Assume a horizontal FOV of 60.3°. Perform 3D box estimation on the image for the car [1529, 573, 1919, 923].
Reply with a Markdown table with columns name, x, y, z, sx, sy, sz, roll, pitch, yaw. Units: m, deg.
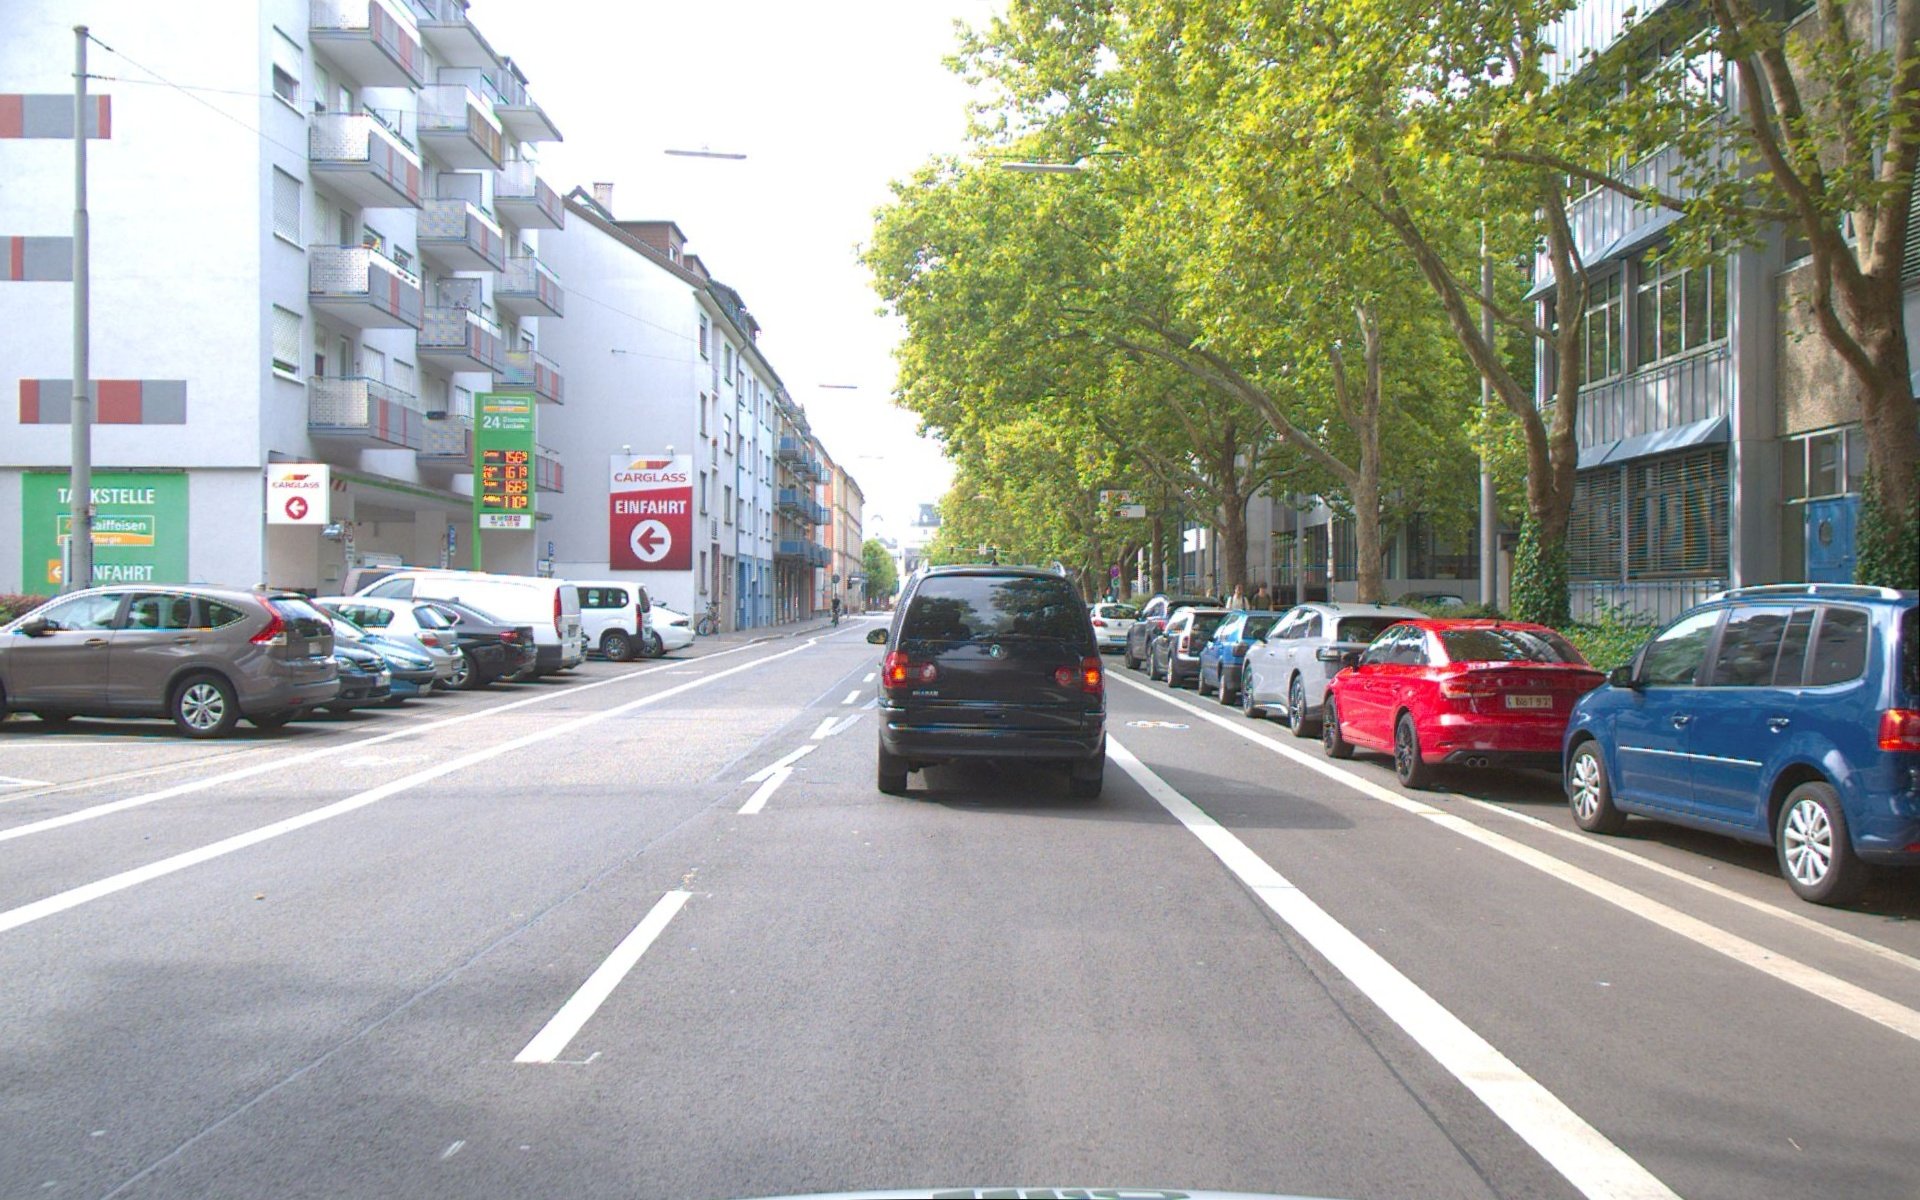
| name | x | y | z | sx | sy | sz | roll | pitch | yaw |
| --- | --- | --- | --- | --- | --- | --- | --- | --- | --- |
| car | 5.212 | 0.694 | 10.213 | 1.625 | 1.679 | 4.417 | 1 | 1 | -4 |

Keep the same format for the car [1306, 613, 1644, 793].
| name | x | y | z | sx | sy | sz | roll | pitch | yaw |
| --- | --- | --- | --- | --- | --- | --- | --- | --- | --- |
| car | 4.542 | 0.834 | 15.306 | 1.642 | 1.418 | 4.459 | 0 | 0 | -2 |

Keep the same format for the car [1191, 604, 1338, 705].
| name | x | y | z | sx | sy | sz | roll | pitch | yaw |
| --- | --- | --- | --- | --- | --- | --- | --- | --- | --- |
| car | 4.731 | 0.800 | 26.159 | 1.588 | 1.410 | 4.000 | 3 | 0 | 1 |

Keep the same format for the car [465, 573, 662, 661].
| name | x | y | z | sx | sy | sz | roll | pitch | yaw |
| --- | --- | --- | --- | --- | --- | --- | --- | --- | --- |
| car | -9.395 | 0.402 | 39.479 | 4.221 | 1.902 | 1.823 | 2 | -1 | -2 |

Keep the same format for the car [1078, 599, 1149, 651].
| name | x | y | z | sx | sy | sz | roll | pitch | yaw |
| --- | --- | --- | --- | --- | --- | --- | --- | --- | --- |
| car | 4.531 | 0.714 | 49.428 | 1.641 | 1.418 | 4.460 | 2 | 0 | 0 |

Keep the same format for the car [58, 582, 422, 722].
| name | x | y | z | sx | sy | sz | roll | pitch | yaw |
| --- | --- | --- | --- | --- | --- | --- | --- | --- | --- |
| car | -9.177 | 0.636 | 21.281 | 3.859 | 1.597 | 1.754 | 2 | 0 | 1 |

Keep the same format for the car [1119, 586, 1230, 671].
| name | x | y | z | sx | sy | sz | roll | pitch | yaw |
| --- | --- | --- | --- | --- | --- | --- | --- | --- | --- |
| car | 4.625 | 0.593 | 36.222 | 1.635 | 1.669 | 4.501 | 2 | 0 | -2 |

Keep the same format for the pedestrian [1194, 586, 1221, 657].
| name | x | y | z | sx | sy | sz | roll | pitch | yaw |
| --- | --- | --- | --- | --- | --- | --- | --- | --- | --- |
| pedestrian | 6.135 | 0.520 | 41.028 | 0.575 | 1.731 | 0.508 | 1 | 1 | 0 |

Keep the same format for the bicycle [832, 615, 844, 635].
| name | x | y | z | sx | sy | sz | roll | pitch | yaw |
| --- | --- | --- | --- | --- | --- | --- | --- | --- | --- |
| bicycle | -7.065 | 1.455 | 95.643 | 0.618 | 1.052 | 2.013 | 1 | -3 | -3 |

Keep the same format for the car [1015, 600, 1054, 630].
| name | x | y | z | sx | sy | sz | roll | pitch | yaw |
| --- | --- | --- | --- | --- | --- | --- | --- | --- | --- |
| car | 3.822 | 0.744 | 85.634 | 1.609 | 1.513 | 3.510 | 0 | 0 | -4 |

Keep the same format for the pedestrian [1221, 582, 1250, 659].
| name | x | y | z | sx | sy | sz | roll | pitch | yaw |
| --- | --- | --- | --- | --- | --- | --- | --- | --- | --- |
| pedestrian | 6.839 | 0.498 | 41.100 | 0.575 | 1.870 | 0.692 | 1 | 1 | 0 |

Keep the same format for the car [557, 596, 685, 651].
| name | x | y | z | sx | sy | sz | roll | pitch | yaw |
| --- | --- | --- | --- | --- | --- | --- | --- | --- | --- |
| car | -9.521 | 0.660 | 46.619 | 3.276 | 1.426 | 1.503 | 2 | -1 | -3 |

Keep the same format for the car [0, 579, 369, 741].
| name | x | y | z | sx | sy | sz | roll | pitch | yaw |
| --- | --- | --- | --- | --- | --- | --- | --- | --- | --- |
| car | -9.196 | 0.632 | 18.844 | 4.169 | 1.633 | 1.968 | 1 | 1 | 0 |

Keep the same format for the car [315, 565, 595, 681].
| name | x | y | z | sx | sy | sz | roll | pitch | yaw |
| --- | --- | --- | --- | --- | --- | --- | --- | --- | --- |
| car | -9.155 | 0.409 | 30.272 | 4.434 | 1.911 | 2.047 | 2 | 0 | 0 |

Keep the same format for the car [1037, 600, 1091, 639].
| name | x | y | z | sx | sy | sz | roll | pitch | yaw |
| --- | --- | --- | --- | --- | --- | --- | --- | --- | --- |
| car | 4.077 | 0.758 | 65.182 | 1.609 | 1.438 | 3.413 | 2 | 0 | -4 |

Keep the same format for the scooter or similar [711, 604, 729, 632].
| name | x | y | z | sx | sy | sz | roll | pitch | yaw |
| --- | --- | --- | --- | --- | --- | --- | --- | --- | --- |
| scooter or similar | -9.204 | 0.676 | 63.358 | 0.619 | 1.052 | 2.012 | 0 | 0 | -6 |

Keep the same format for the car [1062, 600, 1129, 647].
| name | x | y | z | sx | sy | sz | roll | pitch | yaw |
| --- | --- | --- | --- | --- | --- | --- | --- | --- | --- |
| car | 4.372 | 0.752 | 53.831 | 1.609 | 1.438 | 3.413 | 2 | 0 | -4 |

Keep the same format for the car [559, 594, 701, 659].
| name | x | y | z | sx | sy | sz | roll | pitch | yaw |
| --- | --- | --- | --- | --- | --- | --- | --- | --- | --- |
| car | -8.308 | 0.658 | 41.830 | 3.276 | 1.523 | 1.595 | 2 | -1 | -3 |

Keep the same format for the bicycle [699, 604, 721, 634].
| name | x | y | z | sx | sy | sz | roll | pitch | yaw |
| --- | --- | --- | --- | --- | --- | --- | --- | --- | --- |
| bicycle | -9.168 | 0.700 | 60.775 | 0.618 | 1.052 | 2.013 | 1 | 0 | -4 |

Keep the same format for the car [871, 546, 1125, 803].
| name | x | y | z | sx | sy | sz | roll | pitch | yaw |
| --- | --- | --- | --- | --- | --- | --- | --- | --- | --- |
| car | 0.225 | 0.541 | 13.538 | 1.776 | 1.797 | 3.736 | 1 | 0 | -2 |

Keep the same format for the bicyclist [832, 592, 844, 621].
| name | x | y | z | sx | sy | sz | roll | pitch | yaw |
| --- | --- | --- | --- | --- | --- | --- | --- | --- | --- |
| bicyclist | -7.075 | 0.394 | 95.890 | 0.640 | 1.639 | 0.655 | 1 | -3 | -3 |

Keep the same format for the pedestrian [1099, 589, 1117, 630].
| name | x | y | z | sx | sy | sz | roll | pitch | yaw |
| --- | --- | --- | --- | --- | --- | --- | --- | --- | --- |
| pedestrian | 6.719 | 0.425 | 75.197 | 0.751 | 1.863 | 0.516 | 0 | 0 | 0 |

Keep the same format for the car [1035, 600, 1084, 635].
| name | x | y | z | sx | sy | sz | roll | pitch | yaw |
| --- | --- | --- | --- | --- | --- | --- | --- | --- | --- |
| car | 4.204 | 0.718 | 70.245 | 1.609 | 1.419 | 3.510 | 2 | 0 | -4 |

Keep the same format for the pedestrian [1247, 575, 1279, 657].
| name | x | y | z | sx | sy | sz | roll | pitch | yaw |
| --- | --- | --- | --- | --- | --- | --- | --- | --- | --- |
| pedestrian | 7.505 | 0.389 | 41.002 | 0.629 | 2.010 | 0.692 | 1 | 1 | 0 |

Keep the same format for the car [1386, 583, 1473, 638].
| name | x | y | z | sx | sy | sz | roll | pitch | yaw |
| --- | --- | --- | --- | --- | --- | --- | --- | --- | --- |
| car | 14.062 | 0.285 | 49.717 | 1.441 | 1.484 | 3.917 | 1 | 1 | -1 |

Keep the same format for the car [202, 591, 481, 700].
| name | x | y | z | sx | sy | sz | roll | pitch | yaw |
| --- | --- | --- | --- | --- | --- | --- | --- | --- | --- |
| car | -9.475 | 0.674 | 25.544 | 3.608 | 1.511 | 1.753 | 2 | 0 | -2 |

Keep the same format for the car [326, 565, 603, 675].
| name | x | y | z | sx | sy | sz | roll | pitch | yaw |
| --- | --- | --- | --- | --- | --- | --- | --- | --- | --- |
| car | -9.723 | 0.390 | 32.776 | 4.817 | 1.936 | 1.999 | 2 | 0 | -1 |

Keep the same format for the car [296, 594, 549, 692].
| name | x | y | z | sx | sy | sz | roll | pitch | yaw |
| --- | --- | --- | --- | --- | --- | --- | --- | --- | --- |
| car | -8.919 | 0.695 | 27.667 | 3.607 | 1.470 | 1.753 | 2 | 0 | -1 |

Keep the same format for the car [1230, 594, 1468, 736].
| name | x | y | z | sx | sy | sz | roll | pitch | yaw |
| --- | --- | --- | --- | --- | --- | --- | --- | --- | --- |
| car | 4.690 | 0.735 | 20.657 | 1.693 | 1.543 | 4.869 | 1 | 0 | -2 |

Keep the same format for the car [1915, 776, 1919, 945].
| name | x | y | z | sx | sy | sz | roll | pitch | yaw |
| --- | --- | --- | --- | --- | --- | --- | --- | --- | --- |
| car | 5.027 | 0.828 | 5.338 | 1.623 | 1.447 | 3.947 | 2 | 0 | 1 |

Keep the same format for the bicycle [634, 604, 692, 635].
| name | x | y | z | sx | sy | sz | roll | pitch | yaw |
| --- | --- | --- | --- | --- | --- | --- | --- | --- | --- |
| bicycle | -10.604 | 0.687 | 59.011 | 1.967 | 1.052 | 0.410 | 1 | 1 | 1 |

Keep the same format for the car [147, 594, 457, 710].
| name | x | y | z | sx | sy | sz | roll | pitch | yaw |
| --- | --- | --- | --- | --- | --- | --- | --- | --- | --- |
| car | -9.159 | 0.703 | 23.250 | 3.608 | 1.451 | 1.753 | 2 | 0 | -2 |

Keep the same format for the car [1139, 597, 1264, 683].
| name | x | y | z | sx | sy | sz | roll | pitch | yaw |
| --- | --- | --- | --- | --- | --- | --- | --- | --- | --- |
| car | 4.432 | 0.707 | 30.924 | 1.597 | 1.495 | 4.316 | 0 | 0 | -2 |
